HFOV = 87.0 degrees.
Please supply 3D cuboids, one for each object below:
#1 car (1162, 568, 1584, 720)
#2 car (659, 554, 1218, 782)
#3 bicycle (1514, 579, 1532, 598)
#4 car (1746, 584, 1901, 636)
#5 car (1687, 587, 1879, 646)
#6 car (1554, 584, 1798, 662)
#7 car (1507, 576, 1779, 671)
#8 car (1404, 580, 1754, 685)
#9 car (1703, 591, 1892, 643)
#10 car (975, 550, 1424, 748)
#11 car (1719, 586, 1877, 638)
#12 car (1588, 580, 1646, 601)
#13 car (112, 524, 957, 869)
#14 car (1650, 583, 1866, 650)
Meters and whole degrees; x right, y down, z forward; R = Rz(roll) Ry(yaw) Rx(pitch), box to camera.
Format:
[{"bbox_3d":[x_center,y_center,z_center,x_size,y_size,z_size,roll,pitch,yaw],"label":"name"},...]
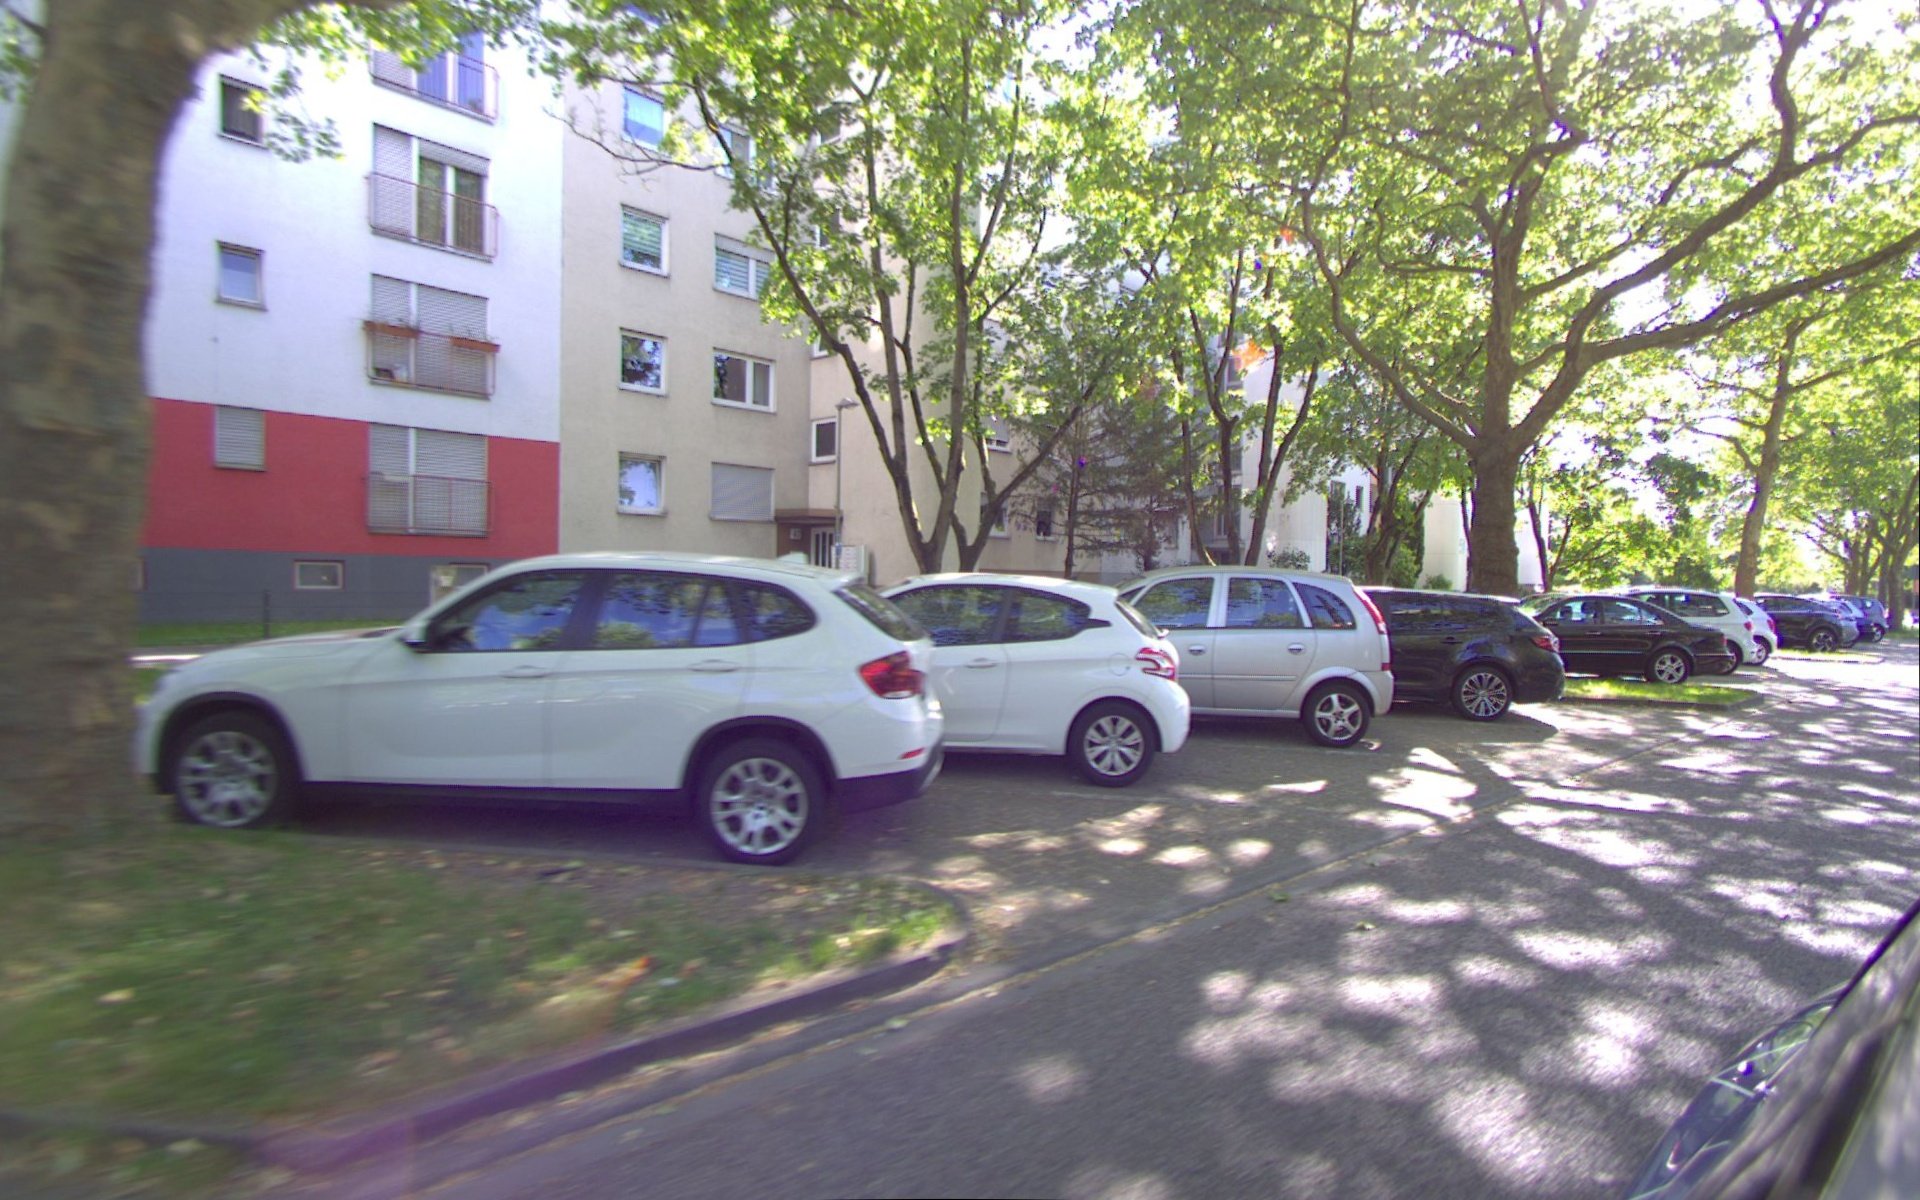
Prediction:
[{"bbox_3d":[4.737,0.441,12.306,4.337,1.445,1.947,3,3,9],"label":"car"},{"bbox_3d":[-0.148,0.430,8.089,3.928,1.436,1.831,2,3,3],"label":"car"},{"bbox_3d":[34.363,-0.702,61.747,0.498,1.120,1.773,8,5,41],"label":"bicycle"},{"bbox_3d":[30.174,0.332,35.477,3.664,1.612,1.797,2,2,8],"label":"car"},{"bbox_3d":[23.355,0.437,28.857,3.819,1.463,1.798,2,2,5],"label":"car"},{"bbox_3d":[15.717,0.460,22.407,3.932,1.462,1.797,2,2,8],"label":"car"},{"bbox_3d":[13.190,0.402,19.783,3.933,1.595,1.796,2,2,8],"label":"car"},{"bbox_3d":[9.997,0.483,16.644,4.507,1.440,1.799,2,2,4],"label":"car"},{"bbox_3d":[25.717,0.490,31.202,4.078,1.334,1.796,2,2,8],"label":"car"},{"bbox_3d":[2.207,0.383,10.086,3.931,1.609,1.798,2,3,6],"label":"car"},{"bbox_3d":[27.627,0.374,33.474,3.523,1.510,1.797,2,2,7],"label":"car"},{"bbox_3d":[70.474,-1.089,108.648,2.048,2.112,5.205,-1,2,-14],"label":"car"},{"bbox_3d":[-2.121,0.426,5.861,4.133,1.528,1.800,2,3,1],"label":"car"},{"bbox_3d":[20.779,0.394,26.478,4.100,1.529,1.800,2,2,2],"label":"car"}]
